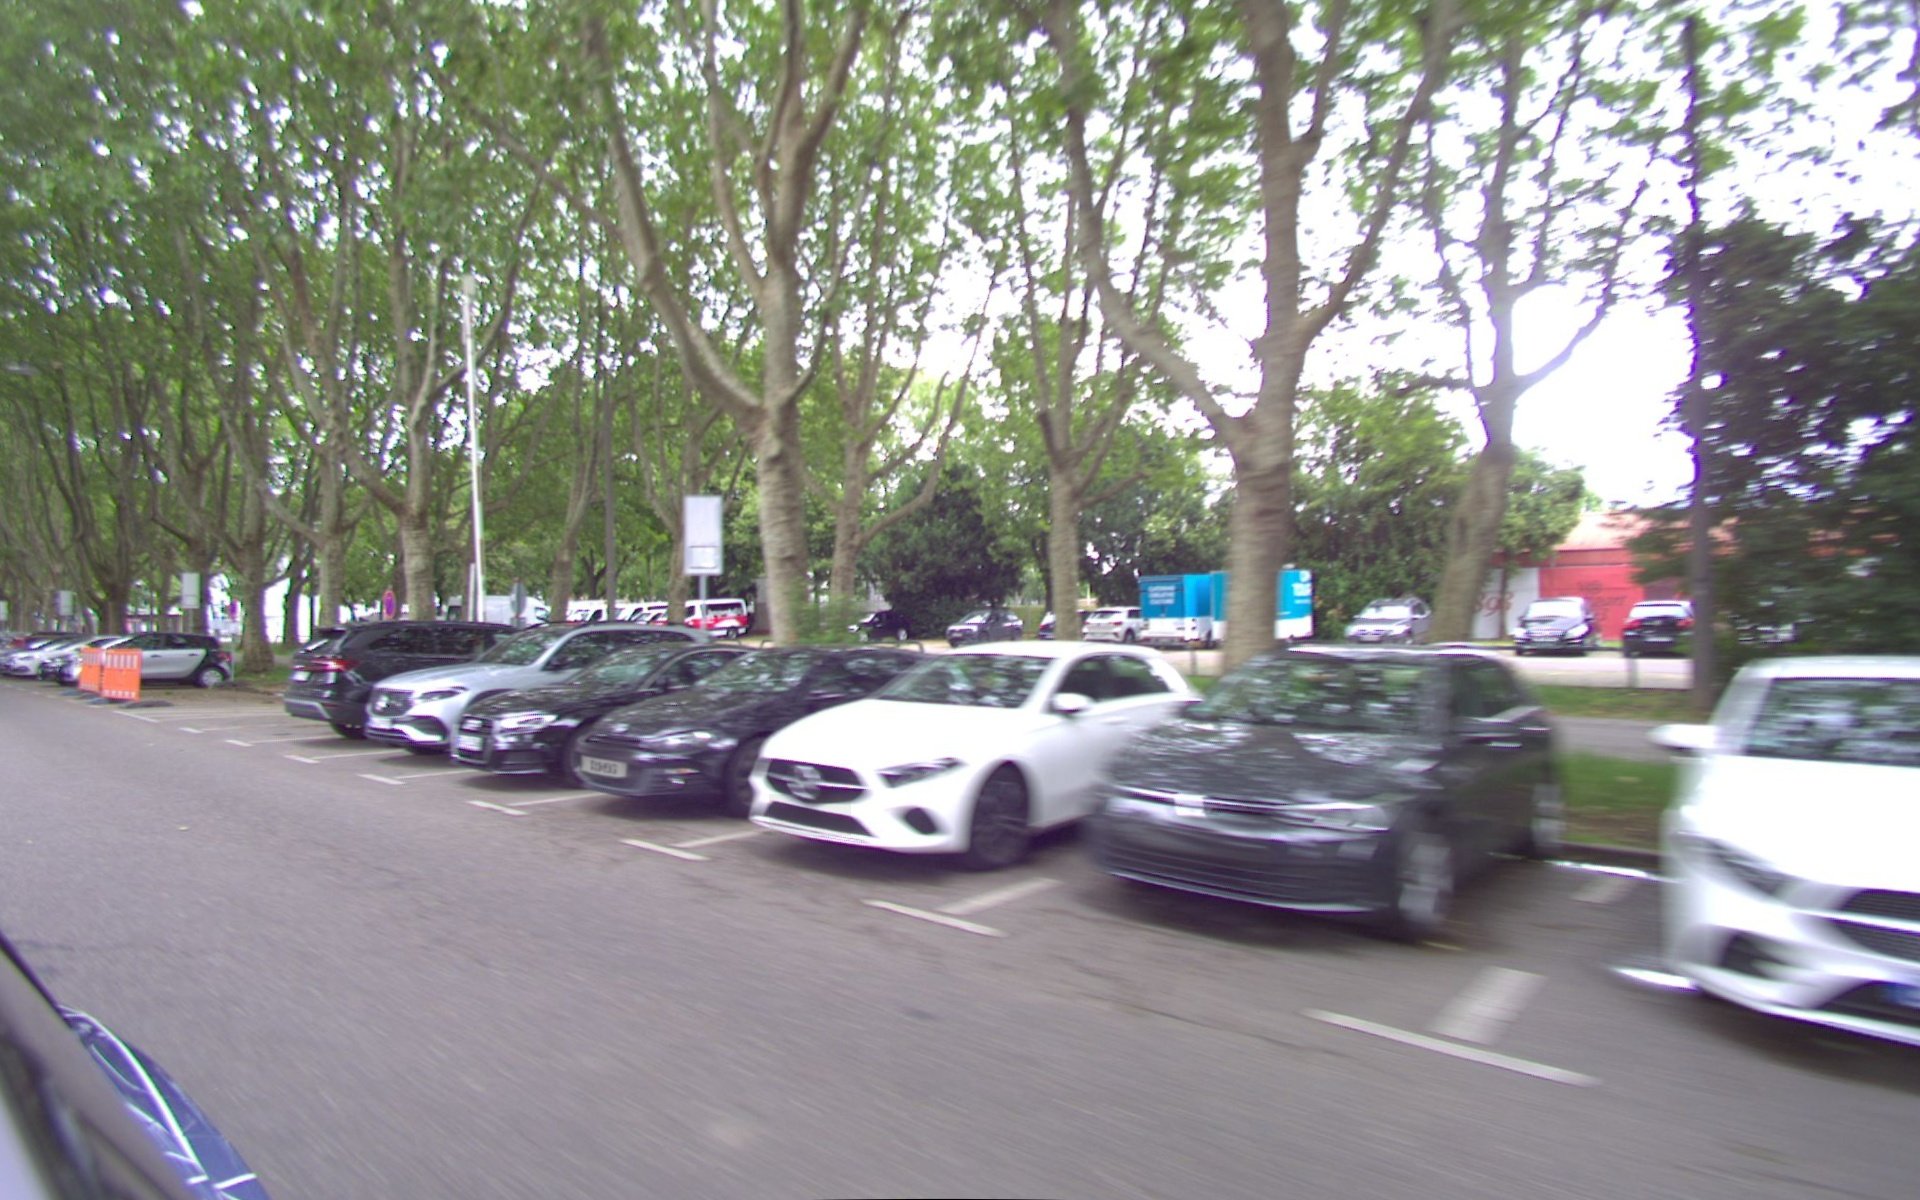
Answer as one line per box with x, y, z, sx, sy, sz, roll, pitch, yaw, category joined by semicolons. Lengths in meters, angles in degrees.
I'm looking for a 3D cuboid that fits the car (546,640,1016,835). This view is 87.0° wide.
-1.414;1.087;9.592;1.722;1.406;4.365;-2;-3;38;car

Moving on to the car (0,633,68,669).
-41.083;2.197;43.465;1.799;1.539;3.986;-3;-4;42;car

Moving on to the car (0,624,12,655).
-57.824;2.397;58.446;4.431;1.764;2.001;-3;1;-45;car

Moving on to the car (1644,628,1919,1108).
4.559;0.878;4.569;2.045;1.455;4.364;-2;-3;39;car

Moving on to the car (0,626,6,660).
-51.321;2.295;51.158;4.431;1.764;2.001;-3;1;-45;car

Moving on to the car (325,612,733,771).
-5.240;1.044;12.892;2.042;1.639;4.370;-2;-3;34;car

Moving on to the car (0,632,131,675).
-33.423;1.968;37.473;1.873;1.525;3.944;-2;-3;42;car

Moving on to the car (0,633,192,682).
-27.810;1.825;32.641;2.090;1.445;4.515;-2;-3;42;car

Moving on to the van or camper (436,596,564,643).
-22.204;0.901;49.051;2.241;2.115;5.234;-1;0;38;van or camper

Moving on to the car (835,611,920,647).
-3.799;1.317;47.157;1.797;1.498;3.951;-1;0;36;car

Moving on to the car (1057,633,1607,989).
2.603;0.942;6.327;1.783;1.428;4.361;-2;-3;41;car

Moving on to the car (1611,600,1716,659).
18.855;0.749;27.056;1.899;1.407;3.946;-2;-1;41;car

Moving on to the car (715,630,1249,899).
0.467;0.977;7.712;1.774;1.435;4.364;-2;-3;39;car

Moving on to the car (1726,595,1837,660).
20.714;0.657;25.488;1.990;1.460;3.946;-2;-1;41;car

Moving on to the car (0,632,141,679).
-29.856;1.840;33.681;1.847;1.486;3.797;-2;-3;42;car

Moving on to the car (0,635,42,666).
-45.246;2.333;46.806;2.000;1.442;3.944;-3;-4;42;car

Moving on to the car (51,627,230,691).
-22.126;1.571;27.402;1.847;1.590;3.518;-2;-3;42;car

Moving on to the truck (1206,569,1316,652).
10.623;0.353;35.564;2.374;2.737;3.947;-1;0;39;truck

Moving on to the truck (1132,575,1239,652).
8.225;0.446;36.717;2.121;2.628;3.945;-1;0;41;truck

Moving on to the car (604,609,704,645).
-17.585;1.511;58.378;1.997;1.864;5.400;-1;0;38;car

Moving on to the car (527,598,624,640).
-24.728;1.199;65.287;2.390;2.536;5.400;-1;0;38;car

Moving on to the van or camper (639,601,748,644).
-15.037;1.243;57.356;2.328;2.272;5.647;-1;0;40;van or camper

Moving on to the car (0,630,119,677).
-31.868;1.846;35.173;1.847;1.581;3.797;-2;-3;42;car

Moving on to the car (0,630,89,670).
-39.179;2.104;42.272;2.000;1.641;3.975;-3;-4;42;car

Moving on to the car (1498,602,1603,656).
17.047;0.800;29.145;1.899;1.407;3.946;-2;-1;41;car

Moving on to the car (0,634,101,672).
-37.277;2.127;40.678;2.000;1.482;3.944;-3;-4;42;car

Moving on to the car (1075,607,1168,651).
6.163;1.073;38.286;1.731;1.519;3.948;-1;0;39;car

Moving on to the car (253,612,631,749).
-7.234;1.062;14.511;2.046;1.639;4.362;-2;-3;40;car

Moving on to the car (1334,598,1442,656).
13.425;0.789;31.640;1.989;1.674;3.946;-1;0;41;car

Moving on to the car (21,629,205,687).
-24.093;1.628;28.886;1.675;1.550;3.797;-2;-3;42;car

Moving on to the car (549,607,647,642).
-22.664;1.522;63.550;2.390;2.036;5.400;-1;0;38;car

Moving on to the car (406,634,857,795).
-3.379;1.095;11.193;2.044;1.406;4.366;-2;-3;37;car

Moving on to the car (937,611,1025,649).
0.941;1.243;43.079;1.797;1.498;3.951;-1;0;36;car

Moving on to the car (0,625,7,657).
-55.599;2.363;55.741;4.431;1.764;2.001;-3;1;-45;car

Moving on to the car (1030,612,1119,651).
4.582;1.204;40.079;1.727;1.387;3.967;-1;0;36;car

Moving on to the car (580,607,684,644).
-19.404;1.466;60.118;2.473;2.013;5.400;-1;0;38;car

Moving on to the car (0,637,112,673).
-35.209;2.109;38.775;2.000;1.320;3.944;-3;-4;42;car

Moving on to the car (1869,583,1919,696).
15.943;0.530;15.976;2.093;1.608;5.295;-1;0;39;car
